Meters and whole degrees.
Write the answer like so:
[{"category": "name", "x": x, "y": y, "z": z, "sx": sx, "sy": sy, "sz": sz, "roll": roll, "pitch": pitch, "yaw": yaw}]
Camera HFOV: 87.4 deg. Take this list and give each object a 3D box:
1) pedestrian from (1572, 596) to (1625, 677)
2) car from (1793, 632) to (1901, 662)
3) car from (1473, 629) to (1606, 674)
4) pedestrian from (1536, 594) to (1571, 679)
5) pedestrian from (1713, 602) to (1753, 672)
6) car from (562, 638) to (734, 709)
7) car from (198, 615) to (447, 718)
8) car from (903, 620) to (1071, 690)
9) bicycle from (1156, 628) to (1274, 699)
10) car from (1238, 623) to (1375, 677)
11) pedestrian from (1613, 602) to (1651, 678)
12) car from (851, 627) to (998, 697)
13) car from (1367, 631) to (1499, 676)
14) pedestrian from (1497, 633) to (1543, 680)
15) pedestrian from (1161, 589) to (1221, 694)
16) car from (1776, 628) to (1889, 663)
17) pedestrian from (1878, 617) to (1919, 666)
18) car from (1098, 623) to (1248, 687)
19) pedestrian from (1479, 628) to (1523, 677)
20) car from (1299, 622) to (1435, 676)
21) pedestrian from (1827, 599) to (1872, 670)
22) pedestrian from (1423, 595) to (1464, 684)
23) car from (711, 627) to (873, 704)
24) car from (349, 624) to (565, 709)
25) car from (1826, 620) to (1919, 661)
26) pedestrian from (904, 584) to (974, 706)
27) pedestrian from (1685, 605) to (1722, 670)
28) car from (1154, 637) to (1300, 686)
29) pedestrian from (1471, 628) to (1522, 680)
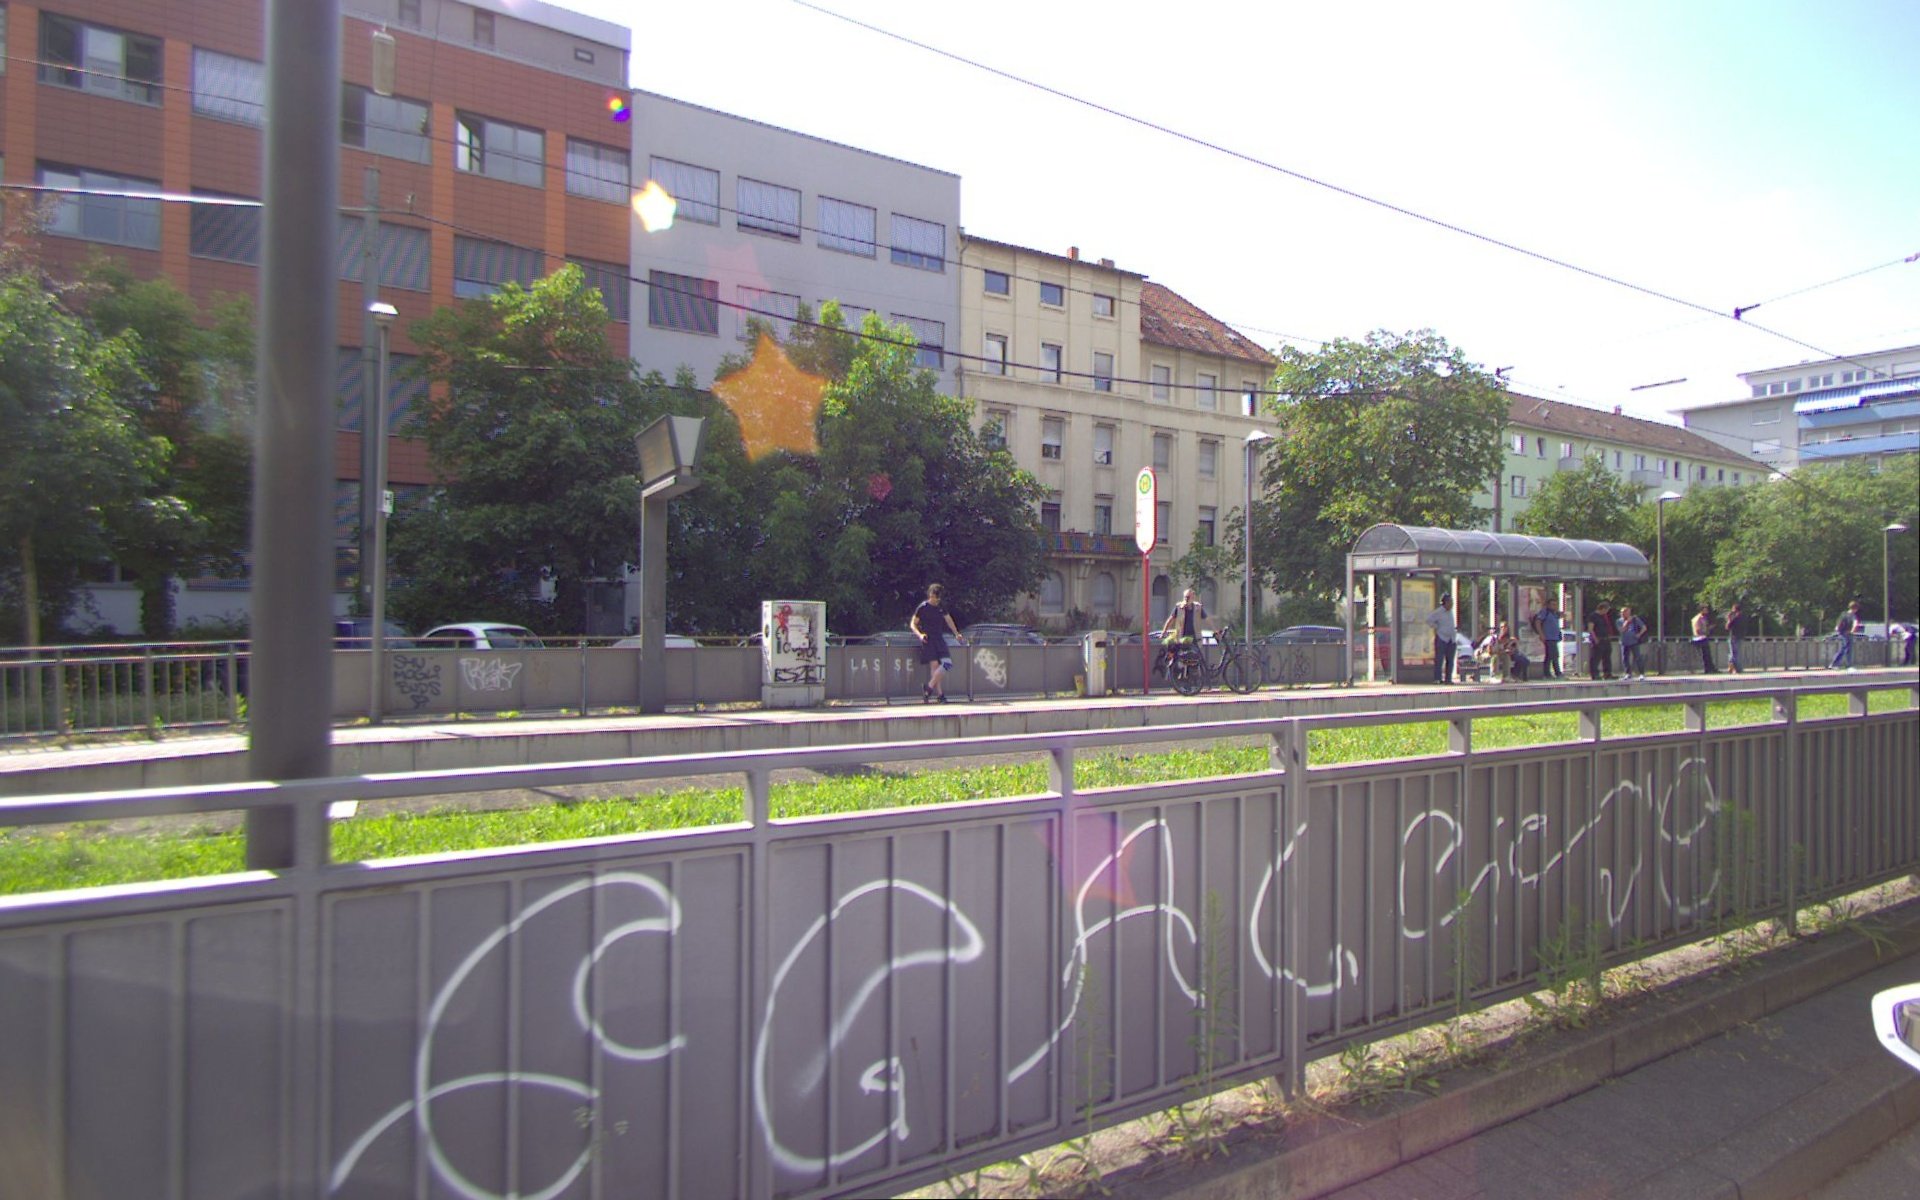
[{"category": "pedestrian", "x": 14.249, "y": 0.815, "z": 22.401, "sx": 1.025, "sy": 1.765, "sz": 0.628, "roll": 2, "pitch": -2, "yaw": -33}, {"category": "car", "x": 46.295, "y": 2.440, "z": 52.529, "sx": 3.926, "sy": 1.505, "sz": 1.607, "roll": 0, "pitch": -1, "yaw": 27}, {"category": "car", "x": 21.724, "y": 1.919, "z": 37.841, "sx": 4.071, "sy": 1.585, "sz": 1.927, "roll": 0, "pitch": -2, "yaw": 20}, {"category": "pedestrian", "x": 13.275, "y": 0.816, "z": 22.465, "sx": 0.617, "sy": 1.851, "sz": 0.440, "roll": 1, "pitch": -2, "yaw": -33}, {"category": "pedestrian", "x": 19.939, "y": 0.953, "z": 25.913, "sx": 0.612, "sy": 1.777, "sz": 0.609, "roll": 1, "pitch": -1, "yaw": 11}, {"category": "car", "x": -6.509, "y": 1.482, "z": 20.988, "sx": 3.191, "sy": 1.321, "sz": 1.602, "roll": 0, "pitch": -1, "yaw": 25}, {"category": "car", "x": -11.345, "y": 1.111, "z": 17.912, "sx": 3.768, "sy": 1.680, "sz": 1.875, "roll": 0, "pitch": -1, "yaw": 21}, {"category": "car", "x": 0.677, "y": 1.379, "z": 25.505, "sx": 3.924, "sy": 1.661, "sz": 1.672, "roll": -1, "pitch": -3, "yaw": 25}, {"category": "bicycle", "x": 4.188, "y": 1.032, "z": 16.496, "sx": 1.850, "sy": 1.128, "sz": 0.660, "roll": 1, "pitch": -3, "yaw": -22}, {"category": "car", "x": 10.931, "y": 1.536, "z": 31.710, "sx": 3.926, "sy": 1.589, "sz": 1.607, "roll": 0, "pitch": -1, "yaw": 27}, {"category": "pedestrian", "x": 14.992, "y": 0.889, "z": 22.404, "sx": 0.555, "sy": 1.654, "sz": 0.591, "roll": 1, "pitch": -1, "yaw": -44}, {"category": "car", "x": -0.829, "y": 1.437, "z": 23.748, "sx": 3.009, "sy": 1.428, "sz": 1.672, "roll": 2, "pitch": -2, "yaw": 25}, {"category": "car", "x": 16.211, "y": 1.822, "z": 34.652, "sx": 3.944, "sy": 1.410, "sz": 1.816, "roll": 0, "pitch": 0, "yaw": 20}, {"category": "pedestrian", "x": 12.255, "y": 1.227, "z": 21.986, "sx": 0.556, "sy": 1.008, "sz": 0.700, "roll": 2, "pitch": -3, "yaw": -32}, {"category": "pedestrian", "x": 3.958, "y": 0.705, "z": 17.241, "sx": 0.790, "sy": 1.747, "sz": 0.634, "roll": 2, "pitch": -2, "yaw": -33}, {"category": "car", "x": 44.138, "y": 2.294, "z": 50.931, "sx": 3.923, "sy": 1.662, "sz": 1.826, "roll": 0, "pitch": 0, "yaw": 23}, {"category": "pedestrian", "x": 31.267, "y": 1.359, "z": 33.362, "sx": 0.790, "sy": 1.599, "sz": 0.983, "roll": 2, "pitch": -2, "yaw": -32}, {"category": "car", "x": 6.098, "y": 1.538, "z": 28.790, "sx": 3.923, "sy": 1.549, "sz": 1.671, "roll": 2, "pitch": 1, "yaw": 24}, {"category": "pedestrian", "x": 11.674, "y": 1.131, "z": 21.679, "sx": 0.556, "sy": 1.044, "sz": 0.650, "roll": 1, "pitch": -3, "yaw": -32}, {"category": "car", "x": 13.374, "y": 1.596, "z": 33.200, "sx": 4.055, "sy": 1.661, "sz": 1.835, "roll": 0, "pitch": -2, "yaw": 21}, {"category": "pedestrian", "x": 24.726, "y": 0.953, "z": 27.915, "sx": 0.631, "sy": 1.916, "sz": 0.747, "roll": 3, "pitch": -2, "yaw": -27}, {"category": "pedestrian", "x": 9.733, "y": 0.794, "z": 20.213, "sx": 0.617, "sy": 1.749, "sz": 0.483, "roll": 1, "pitch": -1, "yaw": -33}, {"category": "car", "x": -3.723, "y": 1.388, "z": 22.234, "sx": 3.253, "sy": 1.439, "sz": 1.582, "roll": 2, "pitch": 0, "yaw": 30}, {"category": "car", "x": -9.905, "y": 1.242, "z": 19.779, "sx": 3.923, "sy": 1.516, "sz": 1.650, "roll": 0, "pitch": -1, "yaw": 23}, {"category": "car", "x": 49.074, "y": 2.146, "z": 53.670, "sx": 3.880, "sy": 2.097, "sz": 2.046, "roll": 0, "pitch": -1, "yaw": 29}, {"category": "pedestrian", "x": -0.309, "y": 0.656, "z": 14.764, "sx": 0.790, "sy": 1.721, "sz": 0.662, "roll": 2, "pitch": -2, "yaw": -33}, {"category": "pedestrian", "x": 19.606, "y": 0.982, "z": 26.498, "sx": 0.617, "sy": 1.696, "sz": 0.604, "roll": 2, "pitch": -2, "yaw": -30}, {"category": "car", "x": 8.090, "y": 1.838, "z": 30.511, "sx": 3.929, "sy": 1.165, "sz": 1.789, "roll": 2, "pitch": 1, "yaw": 31}, {"category": "pedestrian", "x": 11.164, "y": 1.120, "z": 20.906, "sx": 0.617, "sy": 1.044, "sz": 0.715, "roll": 2, "pitch": -3, "yaw": -32}]
